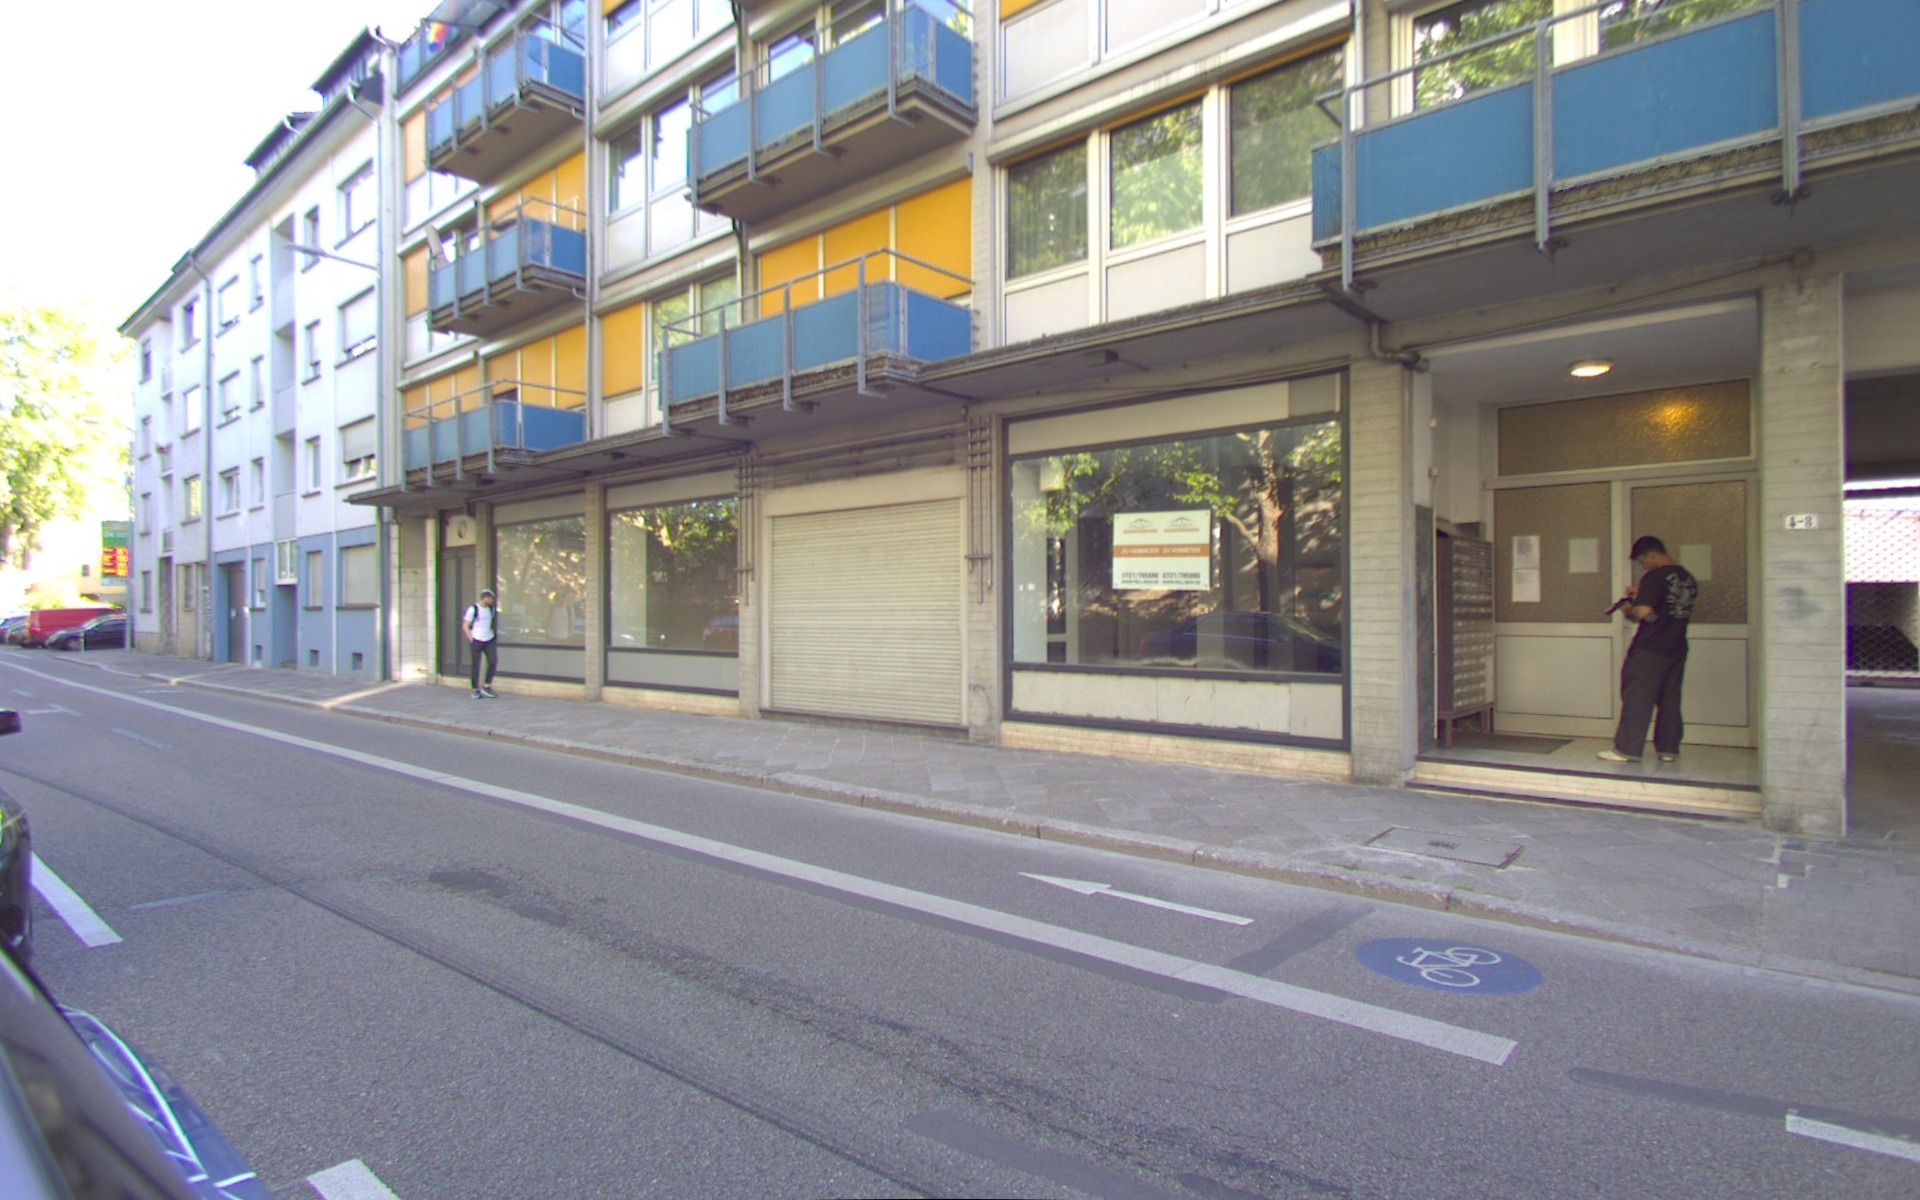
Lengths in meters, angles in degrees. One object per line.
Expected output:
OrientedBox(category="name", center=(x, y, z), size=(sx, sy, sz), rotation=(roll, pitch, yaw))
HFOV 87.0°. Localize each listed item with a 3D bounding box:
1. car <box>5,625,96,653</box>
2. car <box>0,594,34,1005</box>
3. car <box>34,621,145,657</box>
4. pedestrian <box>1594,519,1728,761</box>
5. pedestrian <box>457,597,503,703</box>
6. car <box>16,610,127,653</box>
OrientedBox(category="car", center=(-45.935, 1.952, 51.166), size=(1.294, 1.258, 3.283), rotation=(-1, 0, 40))
OrientedBox(category="car", center=(-5.532, 0.772, 4.376), size=(4.123, 1.475, 1.781), rotation=(-1, 0, 41))
OrientedBox(category="car", center=(-39.735, 1.736, 46.251), size=(1.635, 1.422, 3.623), rotation=(-1, 0, 40))
OrientedBox(category="pedestrian", center=(5.267, 0.298, 7.637), size=(0.623, 1.754, 0.526), rotation=(-1, -1, 8))
OrientedBox(category="pedestrian", center=(-8.066, 0.822, 17.023), size=(0.343, 1.739, 0.562), rotation=(-1, 0, 41))
OrientedBox(category="car", center=(-43.645, 1.521, 49.786), size=(1.635, 1.937, 3.878), rotation=(-1, 0, 40))
